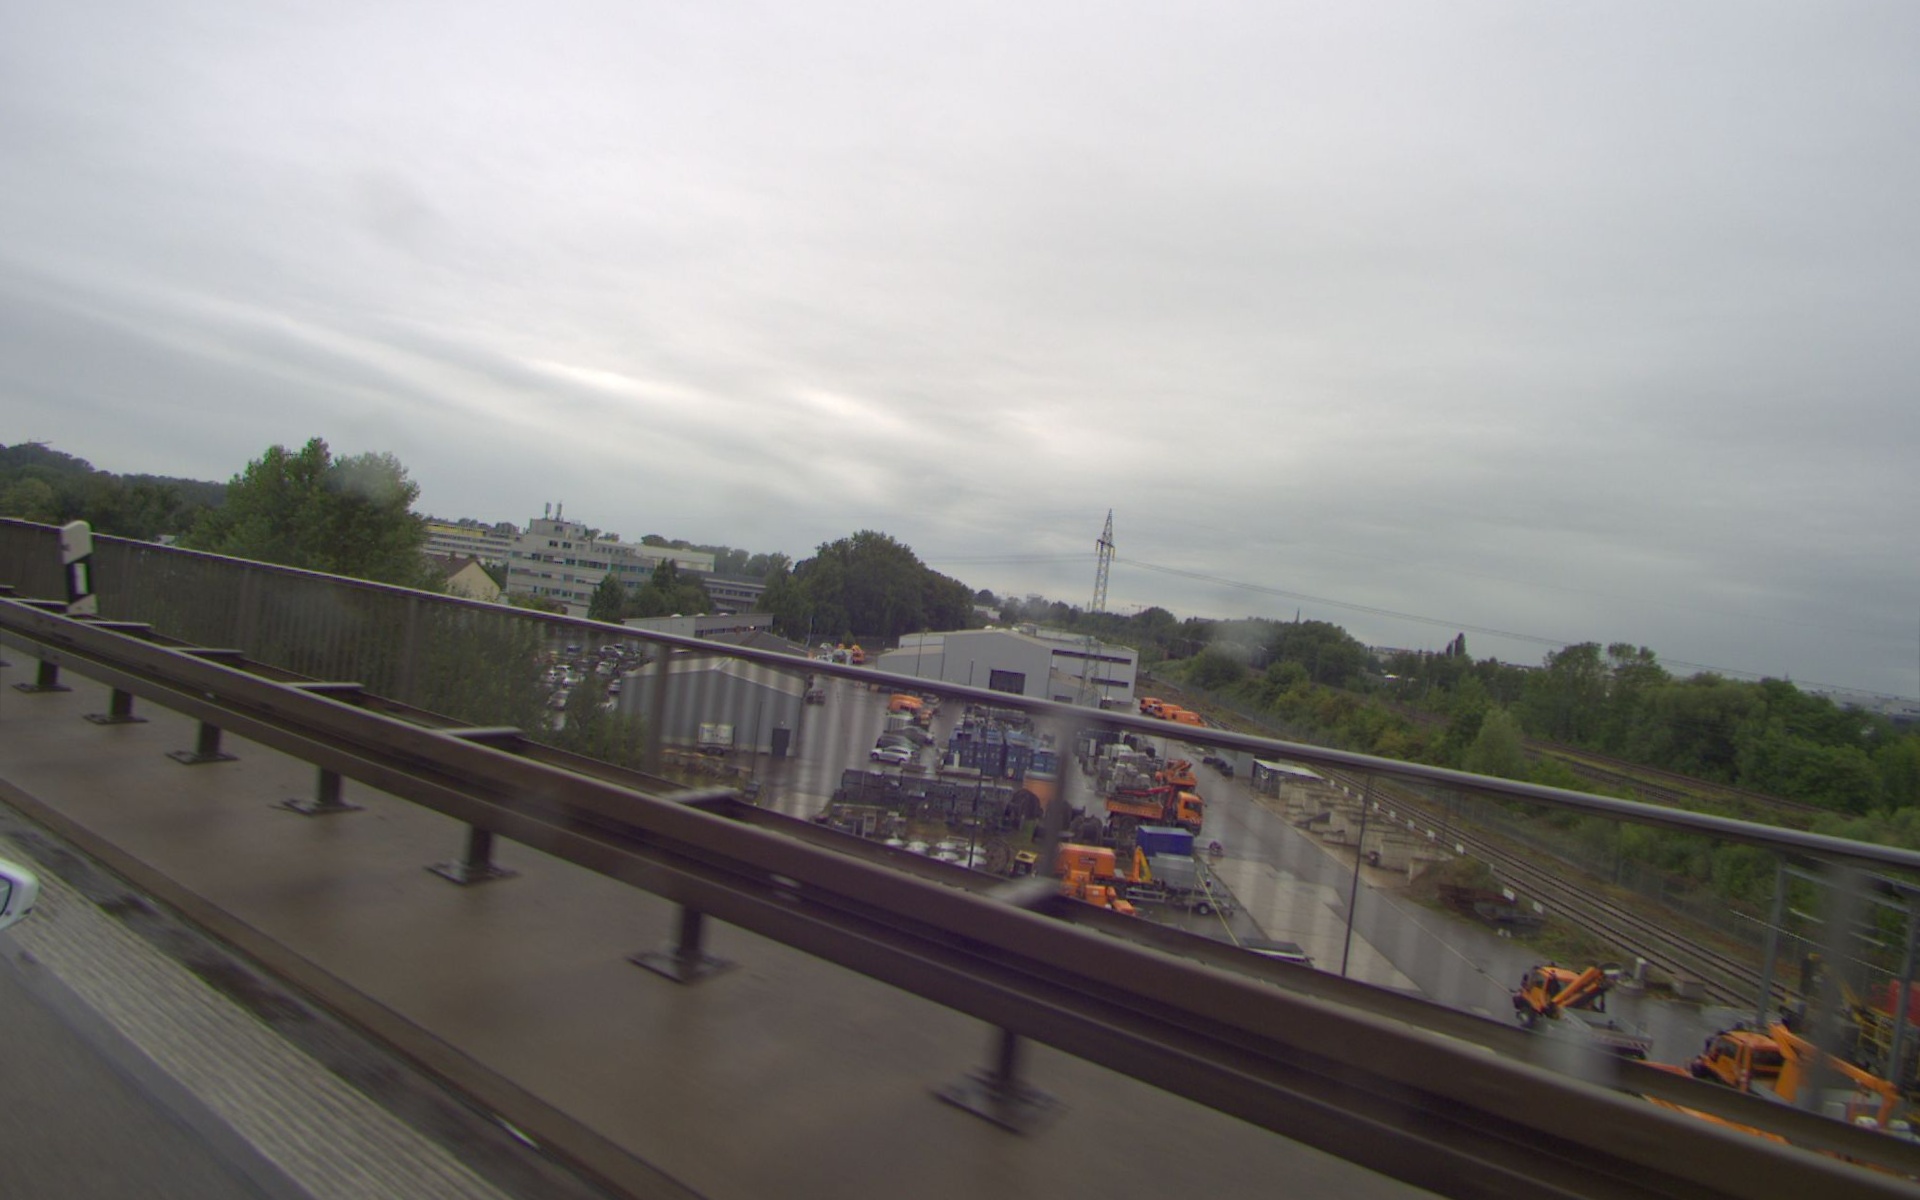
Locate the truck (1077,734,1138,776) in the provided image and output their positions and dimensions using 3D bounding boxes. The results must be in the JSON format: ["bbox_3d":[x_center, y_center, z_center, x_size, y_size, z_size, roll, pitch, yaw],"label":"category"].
[{"bbox_3d":[17.188,18.104,117.501,6.468,3.854,2.105,7,-1,-2],"label":"truck"}]

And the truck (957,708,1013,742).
[{"bbox_3d":[3.090,15.508,124.667,6.468,3.221,2.105,7,-1,-2],"label":"truck"}]

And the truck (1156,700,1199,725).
[{"bbox_3d":[36.089,18.660,166.830,6.487,3.221,2.100,8,-2,-15],"label":"truck"}]

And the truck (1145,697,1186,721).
[{"bbox_3d":[35.880,19.008,175.448,6.487,3.221,2.100,8,-2,-15],"label":"truck"}]

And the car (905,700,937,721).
[{"bbox_3d":[-5.065,14.265,130.236,3.928,2.037,2.000,7,-2,-3],"label":"car"}]

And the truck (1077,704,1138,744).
[{"bbox_3d":[17.575,14.811,120.137,6.468,3.854,2.105,7,-1,-2],"label":"truck"}]

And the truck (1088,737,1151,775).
[{"bbox_3d":[18.120,17.716,114.318,6.468,3.221,2.105,7,-1,-2],"label":"truck"}]

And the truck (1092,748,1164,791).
[{"bbox_3d":[16.739,16.926,100.338,6.468,3.221,2.105,7,-1,-2],"label":"truck"}]

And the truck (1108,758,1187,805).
[{"bbox_3d":[17.145,16.621,92.135,6.468,3.221,2.105,7,-1,-2],"label":"truck"}]

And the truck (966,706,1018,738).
[{"bbox_3d":[4.178,15.972,132.025,6.468,3.221,2.105,7,-1,-2],"label":"truck"}]

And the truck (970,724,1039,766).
[{"bbox_3d":[4.425,14.568,101.372,6.468,3.221,2.105,7,-1,-2],"label":"truck"}]

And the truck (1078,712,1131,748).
[{"bbox_3d":[19.534,17.583,136.228,6.468,3.854,2.105,7,-1,-2],"label":"truck"}]

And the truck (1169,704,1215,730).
[{"bbox_3d":[36.360,18.301,157.560,6.487,3.221,2.100,8,-2,-15],"label":"truck"}]

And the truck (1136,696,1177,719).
[{"bbox_3d":[34.980,19.111,179.036,6.487,3.221,2.100,8,-2,-15],"label":"truck"}]

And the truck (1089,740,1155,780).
[{"bbox_3d":[17.656,17.462,109.883,6.468,3.221,2.105,7,-1,-2],"label":"truck"}]

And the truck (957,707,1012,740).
[{"bbox_3d":[3.096,15.647,127.818,6.468,3.221,2.105,7,-1,-2],"label":"truck"}]

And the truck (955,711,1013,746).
[{"bbox_3d":[2.854,15.182,119.117,6.468,3.221,2.105,7,-1,-2],"label":"truck"}]

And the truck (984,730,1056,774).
[{"bbox_3d":[5.701,14.543,96.443,6.468,3.221,2.105,7,-1,-2],"label":"truck"}]

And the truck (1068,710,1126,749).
[{"bbox_3d":[17.076,16.149,125.455,6.468,3.854,2.105,7,-1,-2],"label":"truck"}]

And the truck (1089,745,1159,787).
[{"bbox_3d":[16.884,17.093,103.751,6.468,3.221,2.105,7,-1,-2],"label":"truck"}]

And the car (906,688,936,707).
[{"bbox_3d":[-5.352,13.350,137.910,3.928,2.037,2.000,7,-2,-3],"label":"car"}]
